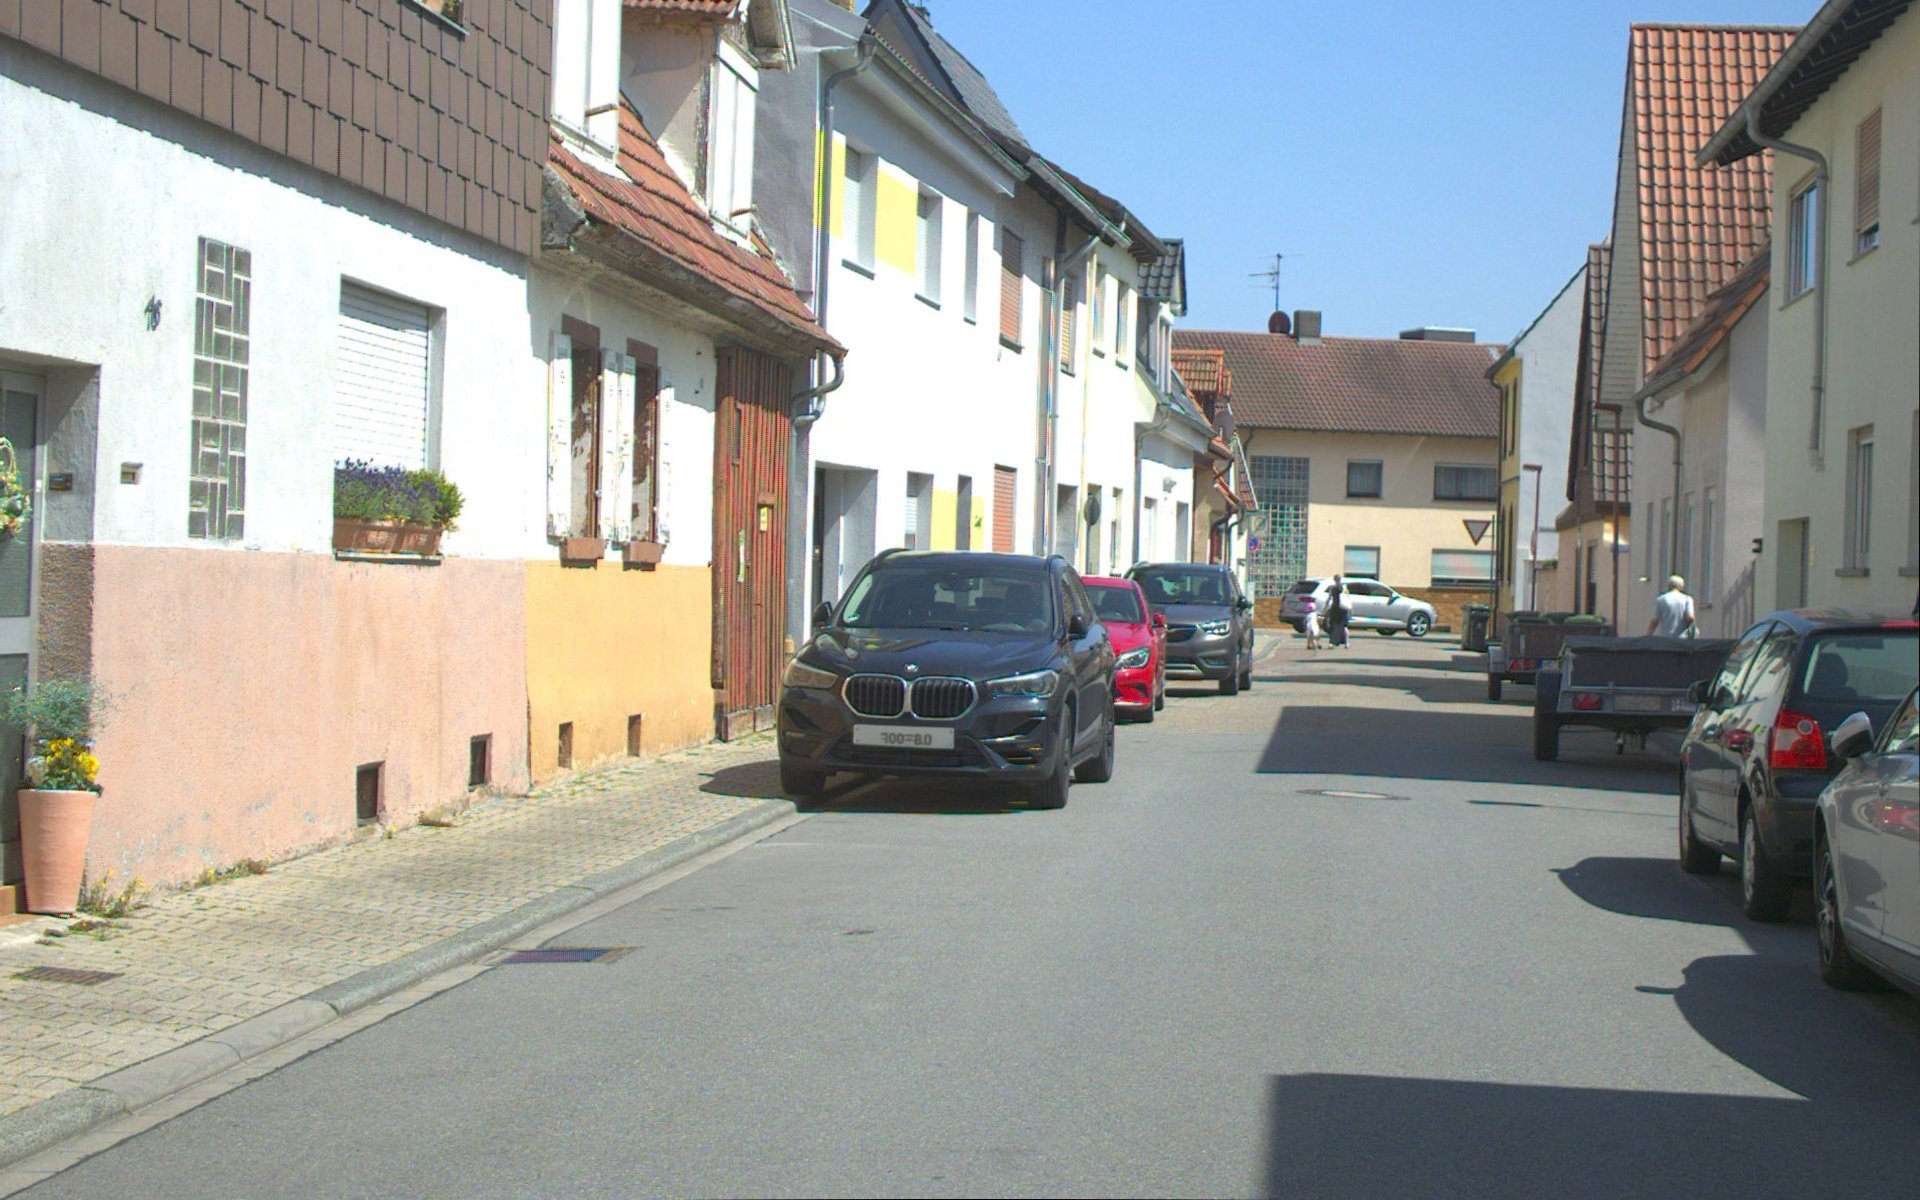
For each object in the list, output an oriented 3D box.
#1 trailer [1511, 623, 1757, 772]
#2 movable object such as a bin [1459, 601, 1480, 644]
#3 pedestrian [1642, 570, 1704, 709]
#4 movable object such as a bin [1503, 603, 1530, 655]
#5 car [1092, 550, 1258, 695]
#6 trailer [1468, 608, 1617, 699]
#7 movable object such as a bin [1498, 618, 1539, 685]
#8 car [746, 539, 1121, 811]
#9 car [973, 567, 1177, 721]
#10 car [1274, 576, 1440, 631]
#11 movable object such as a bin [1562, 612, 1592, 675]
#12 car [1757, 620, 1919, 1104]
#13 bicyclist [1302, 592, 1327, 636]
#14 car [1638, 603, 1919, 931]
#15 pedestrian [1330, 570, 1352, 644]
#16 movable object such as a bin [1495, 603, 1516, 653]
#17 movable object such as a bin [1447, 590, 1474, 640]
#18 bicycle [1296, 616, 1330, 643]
[{"bbox_3d":[5.687,0.796,29.333,1.818,1.086,3.480,2,1,8],"label":"trailer"},{"bbox_3d":[11.703,0.506,78.916,0.424,0.972,0.473,1,0,5],"label":"movable object such as a bin"},{"bbox_3d":[8.184,0.460,39.483,0.595,1.559,0.557,2,-3,5],"label":"pedestrian"},{"bbox_3d":[12.253,0.638,75.691,0.525,1.124,0.366,1,0,5],"label":"movable object such as a bin"},{"bbox_3d":[2.742,0.266,42.963,1.800,1.698,4.486,1,0,7],"label":"car"},{"bbox_3d":[7.434,0.663,44.117,1.700,1.029,3.480,2,1,7],"label":"trailer"},{"bbox_3d":[8.805,0.802,54.179,0.585,1.029,0.595,1,0,6],"label":"movable object such as a bin"},{"bbox_3d":[-0.058,0.438,22.719,1.800,1.568,4.613,1,0,8],"label":"car"},{"bbox_3d":[1.245,0.415,35.337,1.800,1.436,4.486,1,0,5],"label":"car"},{"bbox_3d":[12.095,0.106,104.708,4.748,1.579,1.802,1,0,-23],"label":"car"},{"bbox_3d":[10.839,0.763,60.437,0.458,1.083,0.502,1,0,6],"label":"movable object such as a bin"},{"bbox_3d":[4.031,0.825,12.102,1.791,1.476,4.932,0,0,6],"label":"car"},{"bbox_3d":[7.819,0.307,75.876,0.461,0.956,0.352,1,-1,-13],"label":"bicyclist"},{"bbox_3d":[4.514,0.754,17.361,1.649,1.431,4.133,1,0,5],"label":"car"},{"bbox_3d":[8.399,0.150,75.788,0.411,1.604,0.368,1,0,-3],"label":"pedestrian"},{"bbox_3d":[12.420,0.632,78.256,0.425,1.124,0.414,1,0,5],"label":"movable object such as a bin"},{"bbox_3d":[11.575,0.345,79.545,0.569,1.124,0.453,1,0,5],"label":"movable object such as a bin"},{"bbox_3d":[7.791,0.650,75.912,0.441,0.565,0.939,1,1,-13],"label":"bicycle"}]
